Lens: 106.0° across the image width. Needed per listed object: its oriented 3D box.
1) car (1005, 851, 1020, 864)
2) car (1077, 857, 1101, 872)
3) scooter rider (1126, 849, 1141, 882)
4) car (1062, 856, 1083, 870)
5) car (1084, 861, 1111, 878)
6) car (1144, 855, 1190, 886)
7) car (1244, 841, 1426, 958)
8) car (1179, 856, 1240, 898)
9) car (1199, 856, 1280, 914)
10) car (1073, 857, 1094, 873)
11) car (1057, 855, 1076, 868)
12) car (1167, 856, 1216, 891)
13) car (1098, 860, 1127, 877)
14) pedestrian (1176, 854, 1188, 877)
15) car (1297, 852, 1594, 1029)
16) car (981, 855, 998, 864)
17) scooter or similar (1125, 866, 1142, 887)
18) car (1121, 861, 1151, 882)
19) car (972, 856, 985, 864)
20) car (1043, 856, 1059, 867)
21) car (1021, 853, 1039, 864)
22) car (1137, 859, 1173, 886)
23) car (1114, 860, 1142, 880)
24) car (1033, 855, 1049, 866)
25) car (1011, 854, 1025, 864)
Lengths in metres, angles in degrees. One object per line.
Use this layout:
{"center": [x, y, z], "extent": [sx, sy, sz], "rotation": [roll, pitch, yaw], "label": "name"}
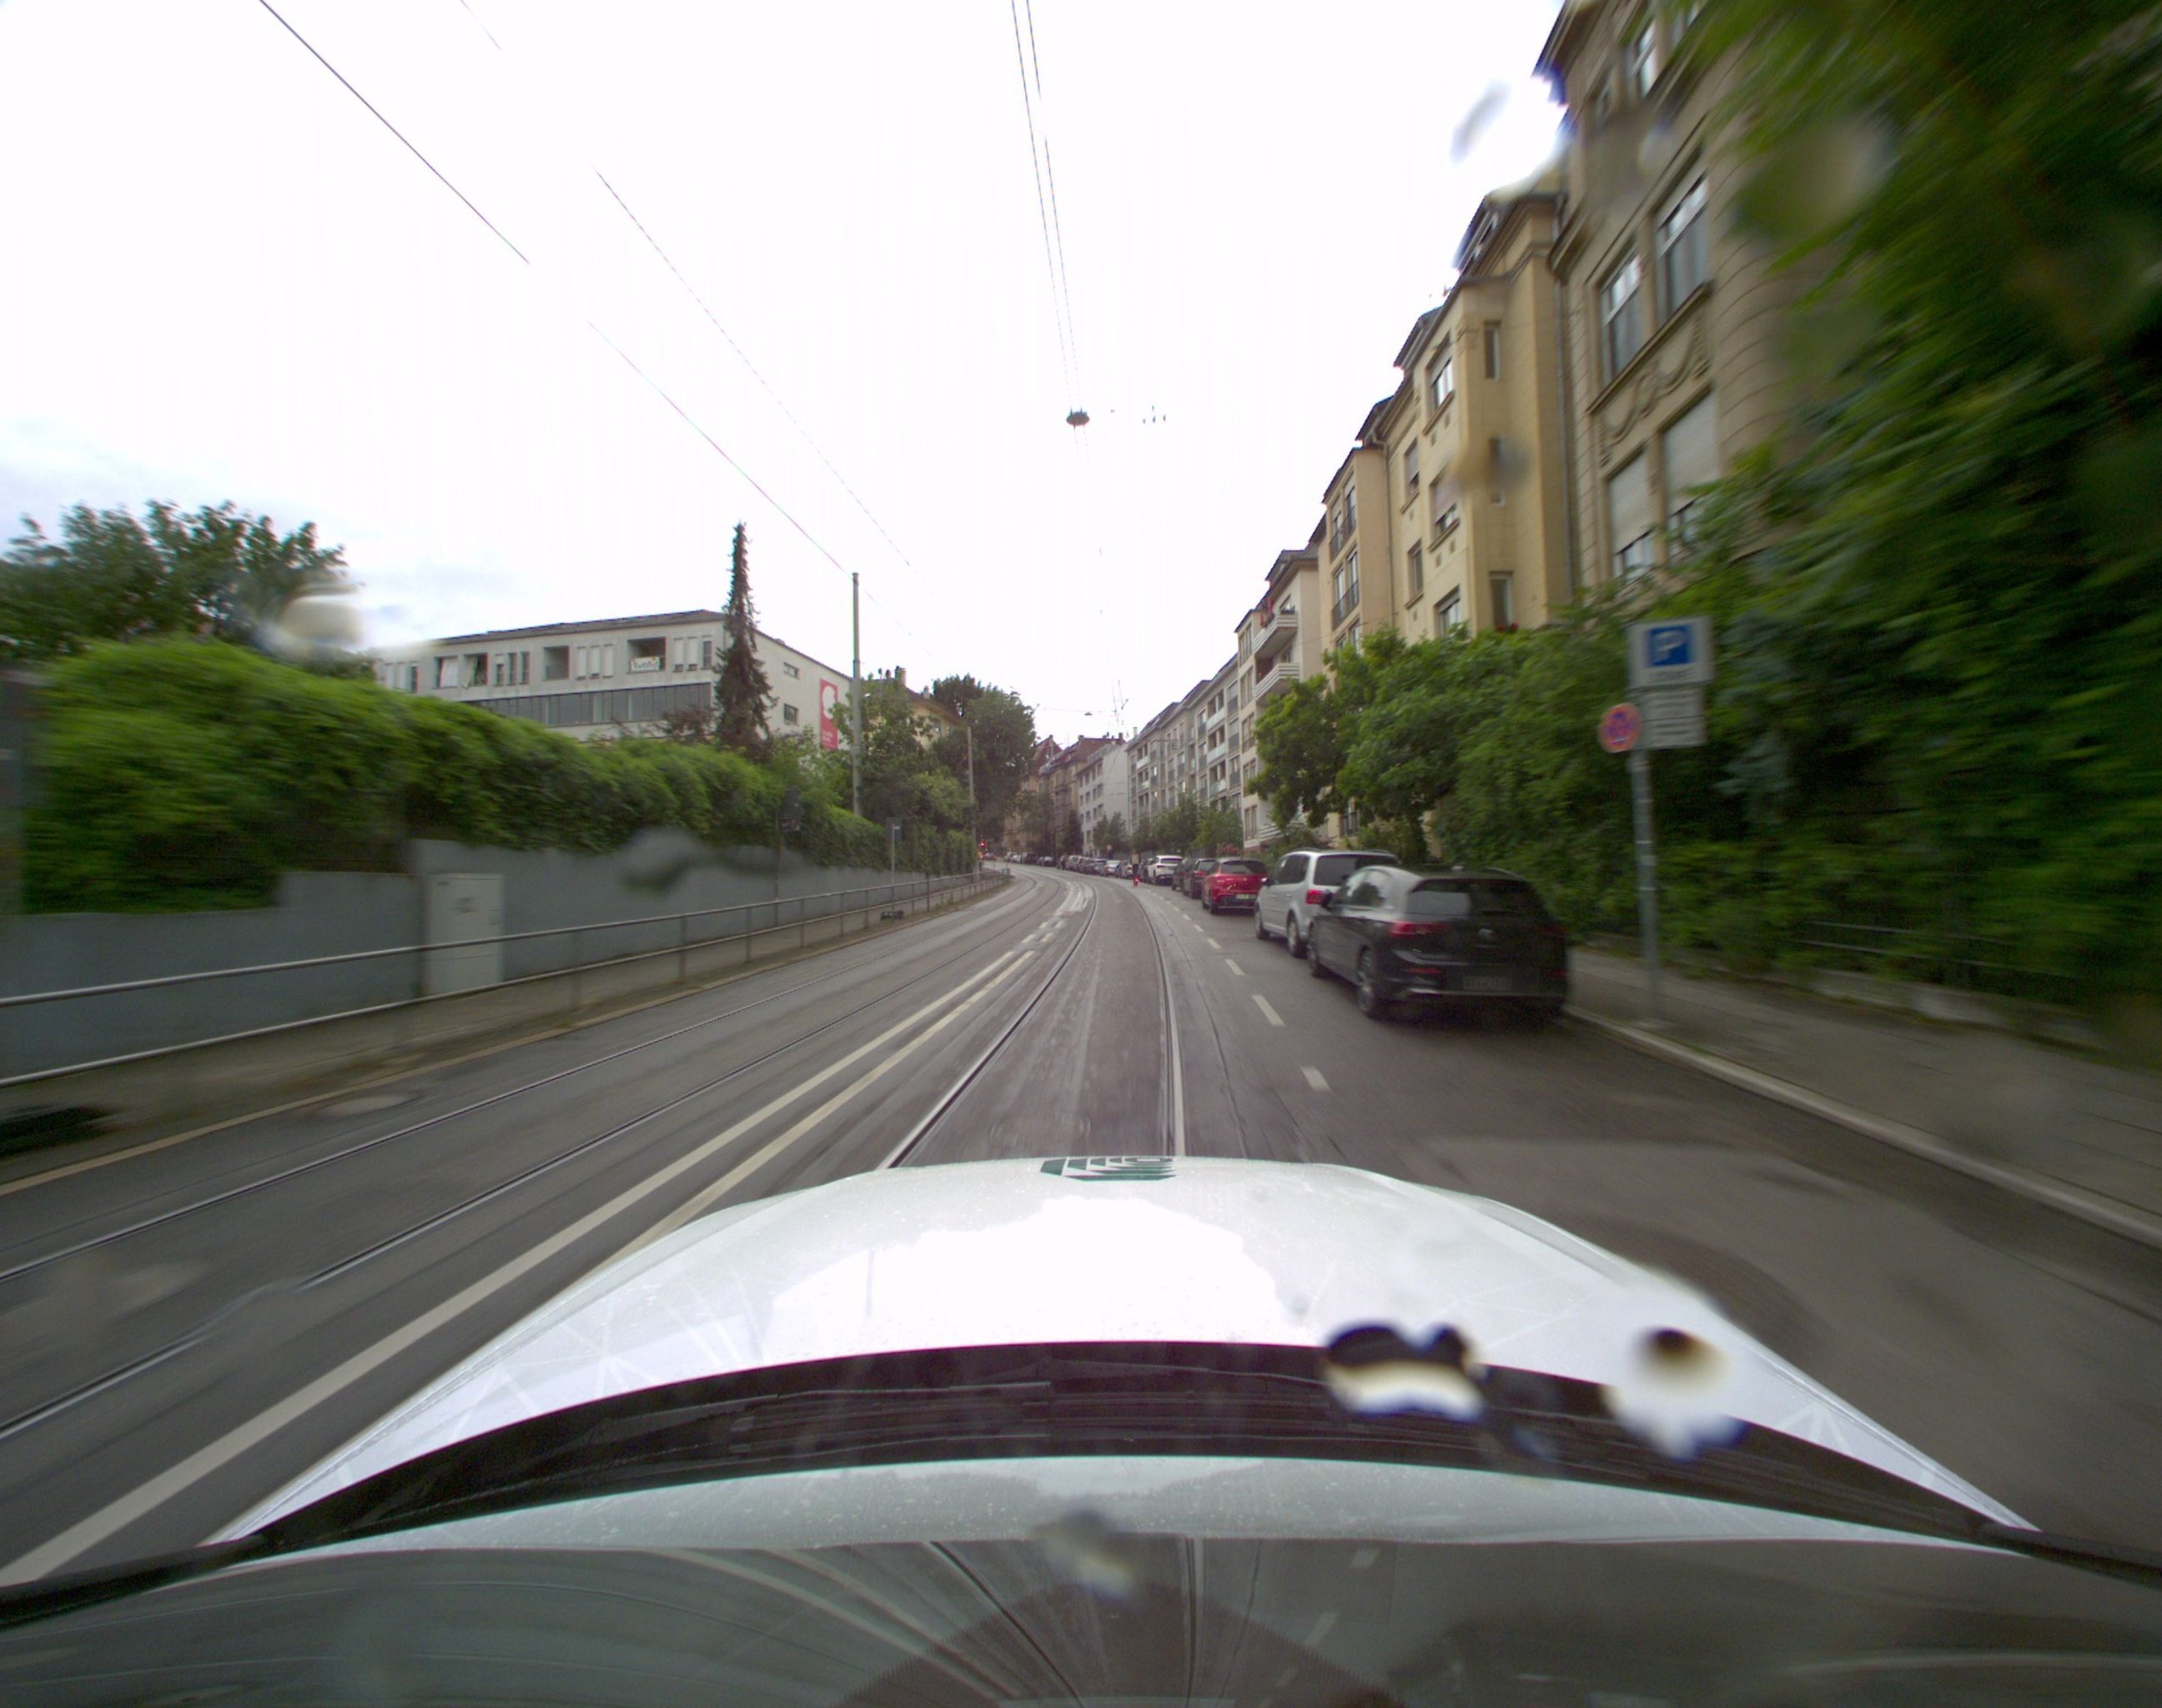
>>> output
{"center": [-12.486, 0.648, 148.160], "extent": [2.031, 2.218, 4.119], "rotation": [0, 0, -15], "label": "car"}
{"center": [0.879, 1.138, 88.619], "extent": [1.768, 1.615, 4.231], "rotation": [0, 0, -12], "label": "car"}
{"center": [2.773, 0.573, 42.852], "extent": [0.622, 1.705, 0.842], "rotation": [2, 0, -6], "label": "scooter rider"}
{"center": [-1.031, 1.086, 99.888], "extent": [1.768, 1.684, 4.230], "rotation": [0, 0, -12], "label": "car"}
{"center": [1.641, 1.522, 82.593], "extent": [1.769, 1.615, 4.227], "rotation": [-1, 0, -14], "label": "car"}
{"center": [4.669, 0.870, 44.797], "extent": [1.833, 1.573, 4.243], "rotation": [1, 0, -3], "label": "car"}
{"center": [4.035, 0.662, 13.721], "extent": [1.759, 1.603, 4.289], "rotation": [-2, -1, 1], "label": "car"}
{"center": [4.726, 0.816, 30.421], "extent": [1.677, 1.437, 4.064], "rotation": [0, 0, 1], "label": "car"}
{"center": [4.276, 0.787, 22.488], "extent": [1.714, 1.437, 3.845], "rotation": [0, 0, 3], "label": "car"}
{"center": [0.245, 1.205, 94.143], "extent": [1.766, 1.787, 4.234], "rotation": [0, 0, -10], "label": "car"}
{"center": [-1.886, 0.969, 104.617], "extent": [1.767, 1.684, 4.232], "rotation": [0, 0, -11], "label": "car"}
{"center": [4.865, 0.832, 36.295], "extent": [1.552, 1.437, 4.301], "rotation": [0, 0, -1], "label": "car"}
{"center": [2.799, 1.301, 72.939], "extent": [1.761, 1.435, 4.626], "rotation": [-1, 0, -8], "label": "car"}
{"center": [7.243, 0.826, 58.514], "extent": [0.569, 1.542, 0.926], "rotation": [-3, 0, -10], "label": "pedestrian"}
{"center": [3.580, 0.725, 8.843], "extent": [1.757, 1.390, 4.006], "rotation": [0, 1, 5], "label": "car"}
{"center": [-18.163, 1.136, 161.503], "extent": [2.038, 1.734, 4.105], "rotation": [0, 0, -25], "label": "car"}
{"center": [2.754, 1.163, 42.802], "extent": [0.513, 1.049, 2.004], "rotation": [1, 0, -6], "label": "scooter or similar"}
{"center": [4.082, 1.306, 60.982], "extent": [1.658, 1.472, 4.501], "rotation": [0, -1, -4], "label": "car"}
{"center": [-21.042, 1.236, 166.877], "extent": [1.861, 1.734, 4.114], "rotation": [0, 0, -18], "label": "car"}
{"center": [-4.399, 1.100, 118.317], "extent": [1.767, 1.518, 4.124], "rotation": [0, 0, -11], "label": "car"}
{"center": [-8.334, 0.723, 132.119], "extent": [2.031, 1.824, 4.345], "rotation": [0, 0, -15], "label": "car"}
{"center": [4.526, 1.086, 50.428], "extent": [1.697, 1.512, 4.568], "rotation": [2, 0, -1], "label": "car"}
{"center": [3.744, 1.265, 65.528], "extent": [1.699, 1.512, 3.706], "rotation": [0, 0, -6], "label": "car"}
{"center": [-6.119, 1.025, 123.308], "extent": [1.651, 1.536, 3.872], "rotation": [-3, 1, -13], "label": "car"}
{"center": [-11.105, 0.844, 143.054], "extent": [2.030, 1.824, 4.122], "rotation": [0, 0, -12], "label": "car"}
